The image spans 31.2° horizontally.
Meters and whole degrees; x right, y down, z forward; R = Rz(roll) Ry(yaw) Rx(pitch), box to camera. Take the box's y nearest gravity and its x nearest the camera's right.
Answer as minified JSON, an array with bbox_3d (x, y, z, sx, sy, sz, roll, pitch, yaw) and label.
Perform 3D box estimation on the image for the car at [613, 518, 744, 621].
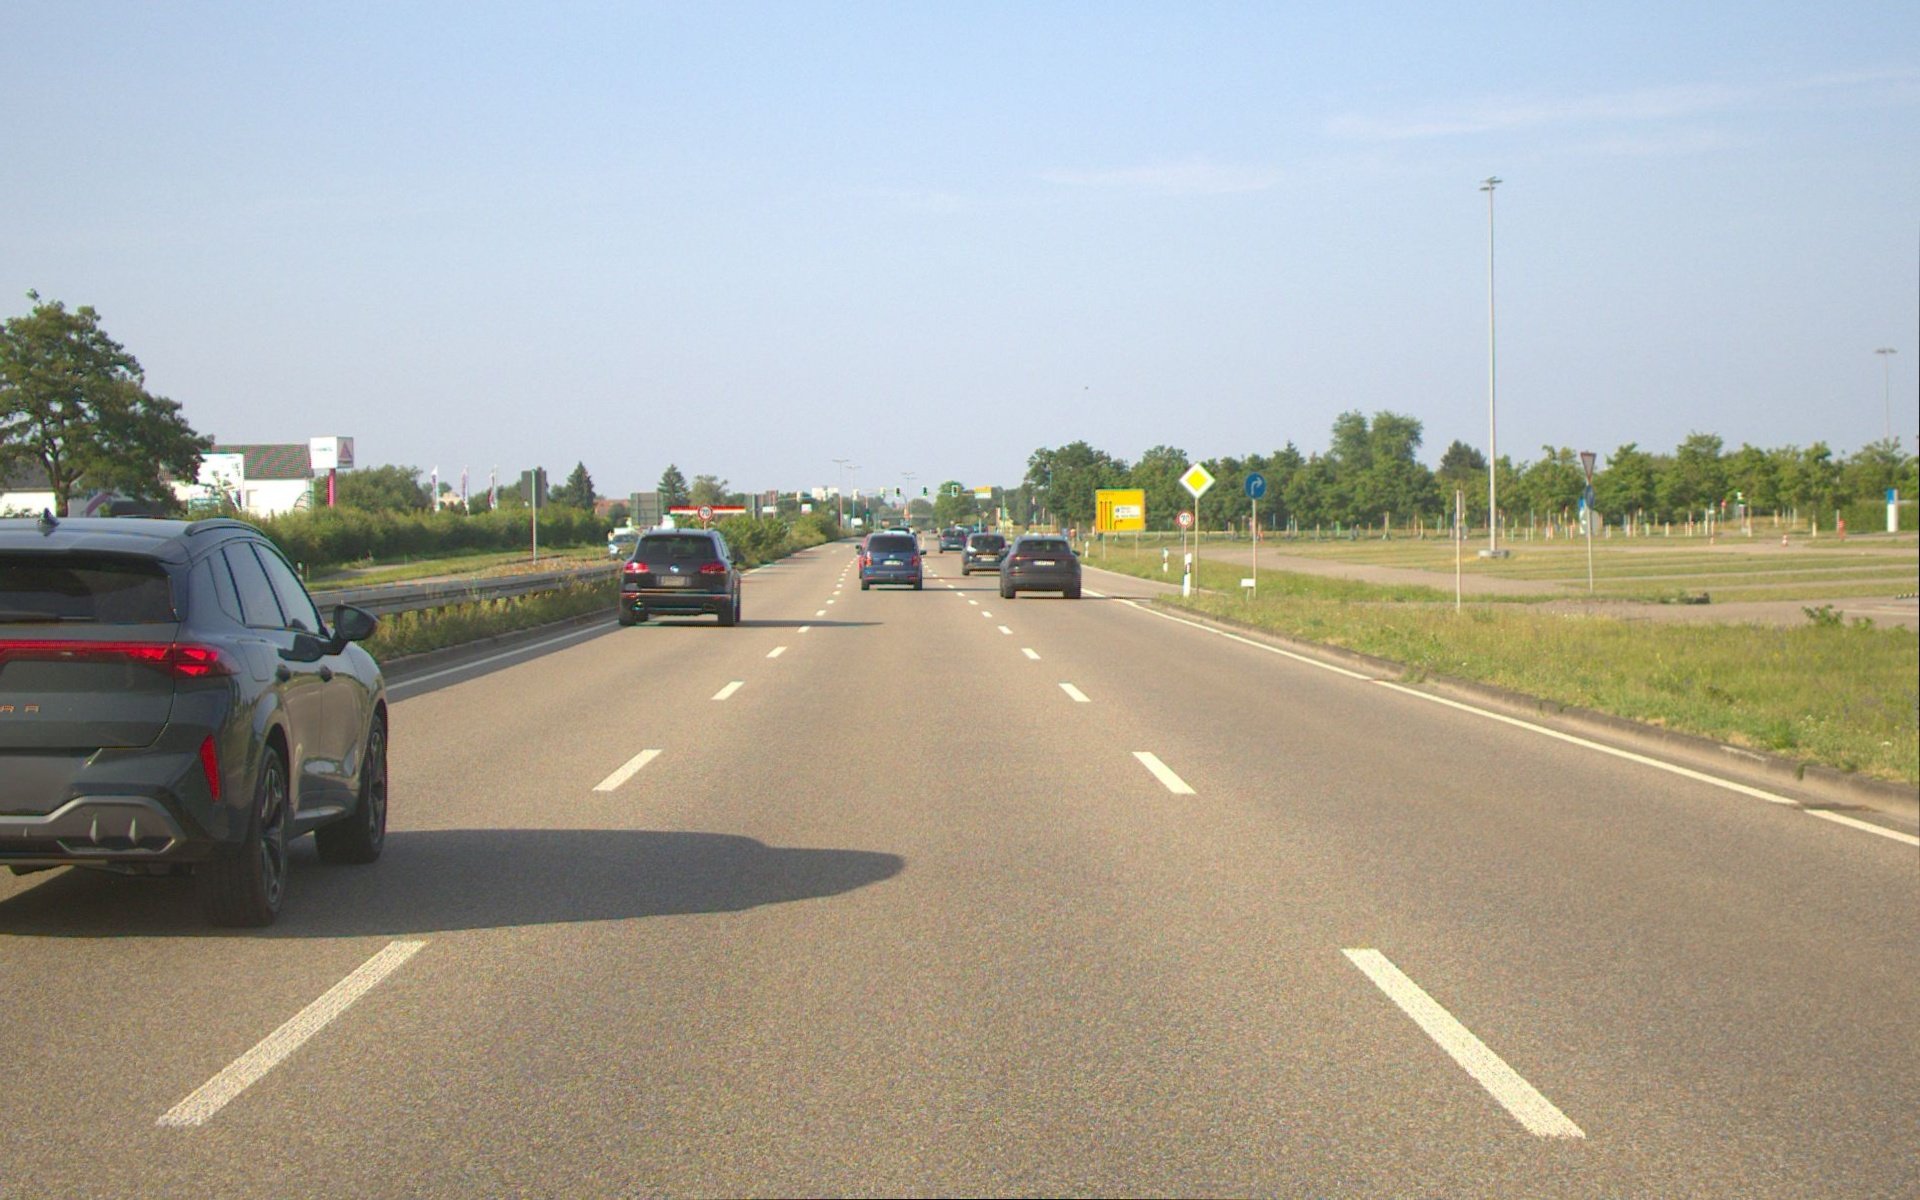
[{"bbox_3d":[-4.877,-0.566,60.042,1.932,1.674,4.401,2,1,-1],"label":"car"}]

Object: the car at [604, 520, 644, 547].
[{"bbox_3d":[-18.261,-3.614,187.038,1.779,1.419,4.000,-1,1,0],"label":"car"}]

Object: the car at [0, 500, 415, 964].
[{"bbox_3d":[-3.552,0.407,14.386,1.845,1.606,4.401,2,1,-1],"label":"car"}]

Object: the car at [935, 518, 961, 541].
[{"bbox_3d":[-0.730,-4.197,205.439,1.503,1.309,3.156,2,1,-1],"label":"car"}]

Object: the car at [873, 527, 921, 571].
[{"bbox_3d":[-2.222,-1.821,122.207,1.647,1.458,3.981,2,1,-1],"label":"car"}]

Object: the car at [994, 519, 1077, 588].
[{"bbox_3d":[1.927,-1.223,88.701,1.932,1.674,4.401,2,1,-1],"label":"car"}]

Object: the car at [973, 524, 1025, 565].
[{"bbox_3d":[1.480,-2.140,131.279,1.873,1.458,3.981,2,1,-1],"label":"car"}]

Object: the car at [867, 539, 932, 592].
[{"bbox_3d":[-1.754,-1.025,100.569,1.812,1.458,4.401,2,1,-1],"label":"car"}]
